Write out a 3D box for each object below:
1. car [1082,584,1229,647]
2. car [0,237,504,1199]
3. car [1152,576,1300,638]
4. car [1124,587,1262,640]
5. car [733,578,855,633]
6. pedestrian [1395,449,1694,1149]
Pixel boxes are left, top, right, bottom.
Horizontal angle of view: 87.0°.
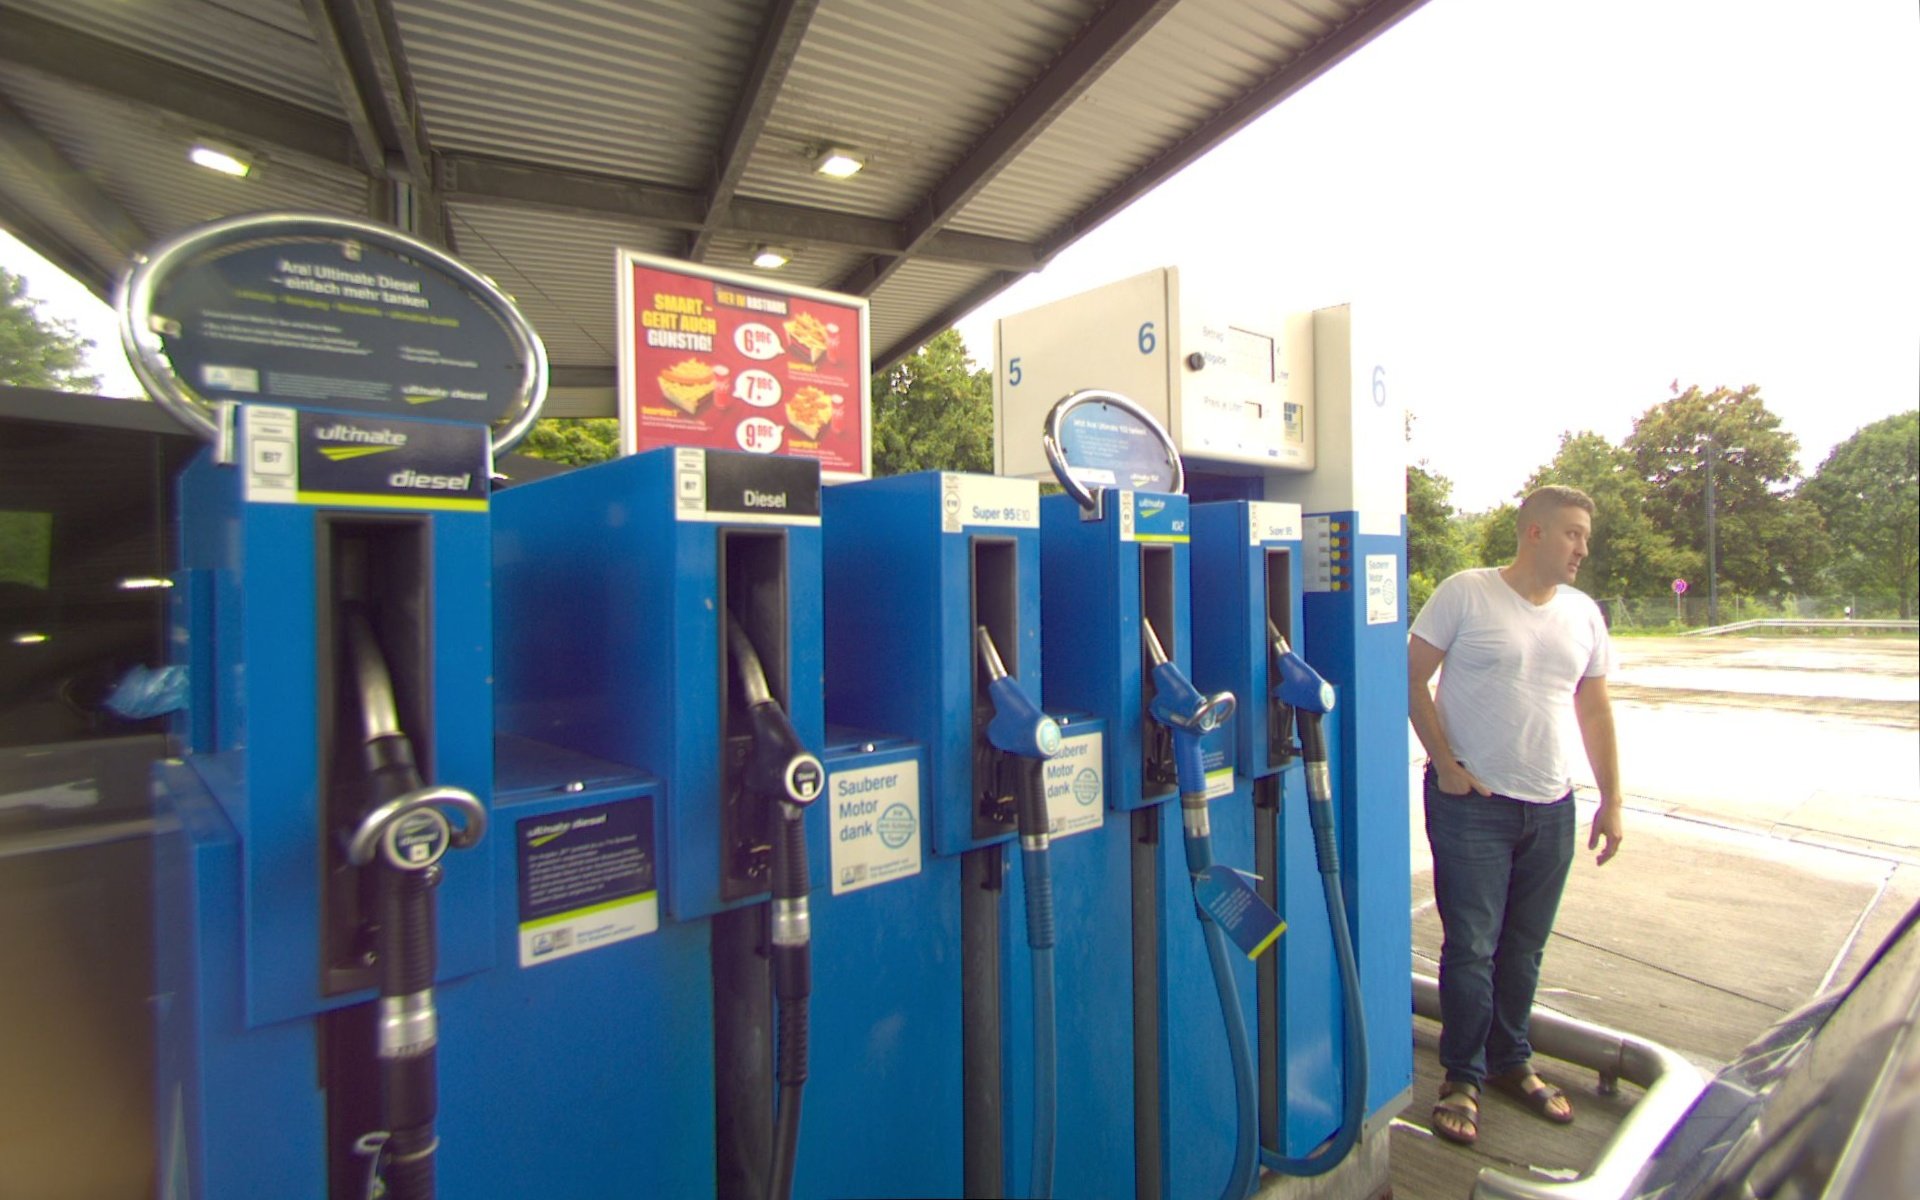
[{"bbox_3d":[5.813,0.419,29.995,4.123,1.752,1.990,1,0,17],"label":"car"},{"bbox_3d":[-3.013,0.407,1.486,3.930,1.973,1.819,0,0,-41],"label":"car"},{"bbox_3d":[8.946,0.205,34.339,4.700,2.011,2.007,0,0,14],"label":"car"},{"bbox_3d":[7.409,0.402,32.154,4.123,1.576,1.990,1,0,17],"label":"car"},{"bbox_3d":[-5.523,0.148,33.454,1.967,1.683,4.170,0,0,-44],"label":"car"},{"bbox_3d":[1.664,0.519,2.963,0.625,1.832,0.492,-1,1,15],"label":"pedestrian"}]
